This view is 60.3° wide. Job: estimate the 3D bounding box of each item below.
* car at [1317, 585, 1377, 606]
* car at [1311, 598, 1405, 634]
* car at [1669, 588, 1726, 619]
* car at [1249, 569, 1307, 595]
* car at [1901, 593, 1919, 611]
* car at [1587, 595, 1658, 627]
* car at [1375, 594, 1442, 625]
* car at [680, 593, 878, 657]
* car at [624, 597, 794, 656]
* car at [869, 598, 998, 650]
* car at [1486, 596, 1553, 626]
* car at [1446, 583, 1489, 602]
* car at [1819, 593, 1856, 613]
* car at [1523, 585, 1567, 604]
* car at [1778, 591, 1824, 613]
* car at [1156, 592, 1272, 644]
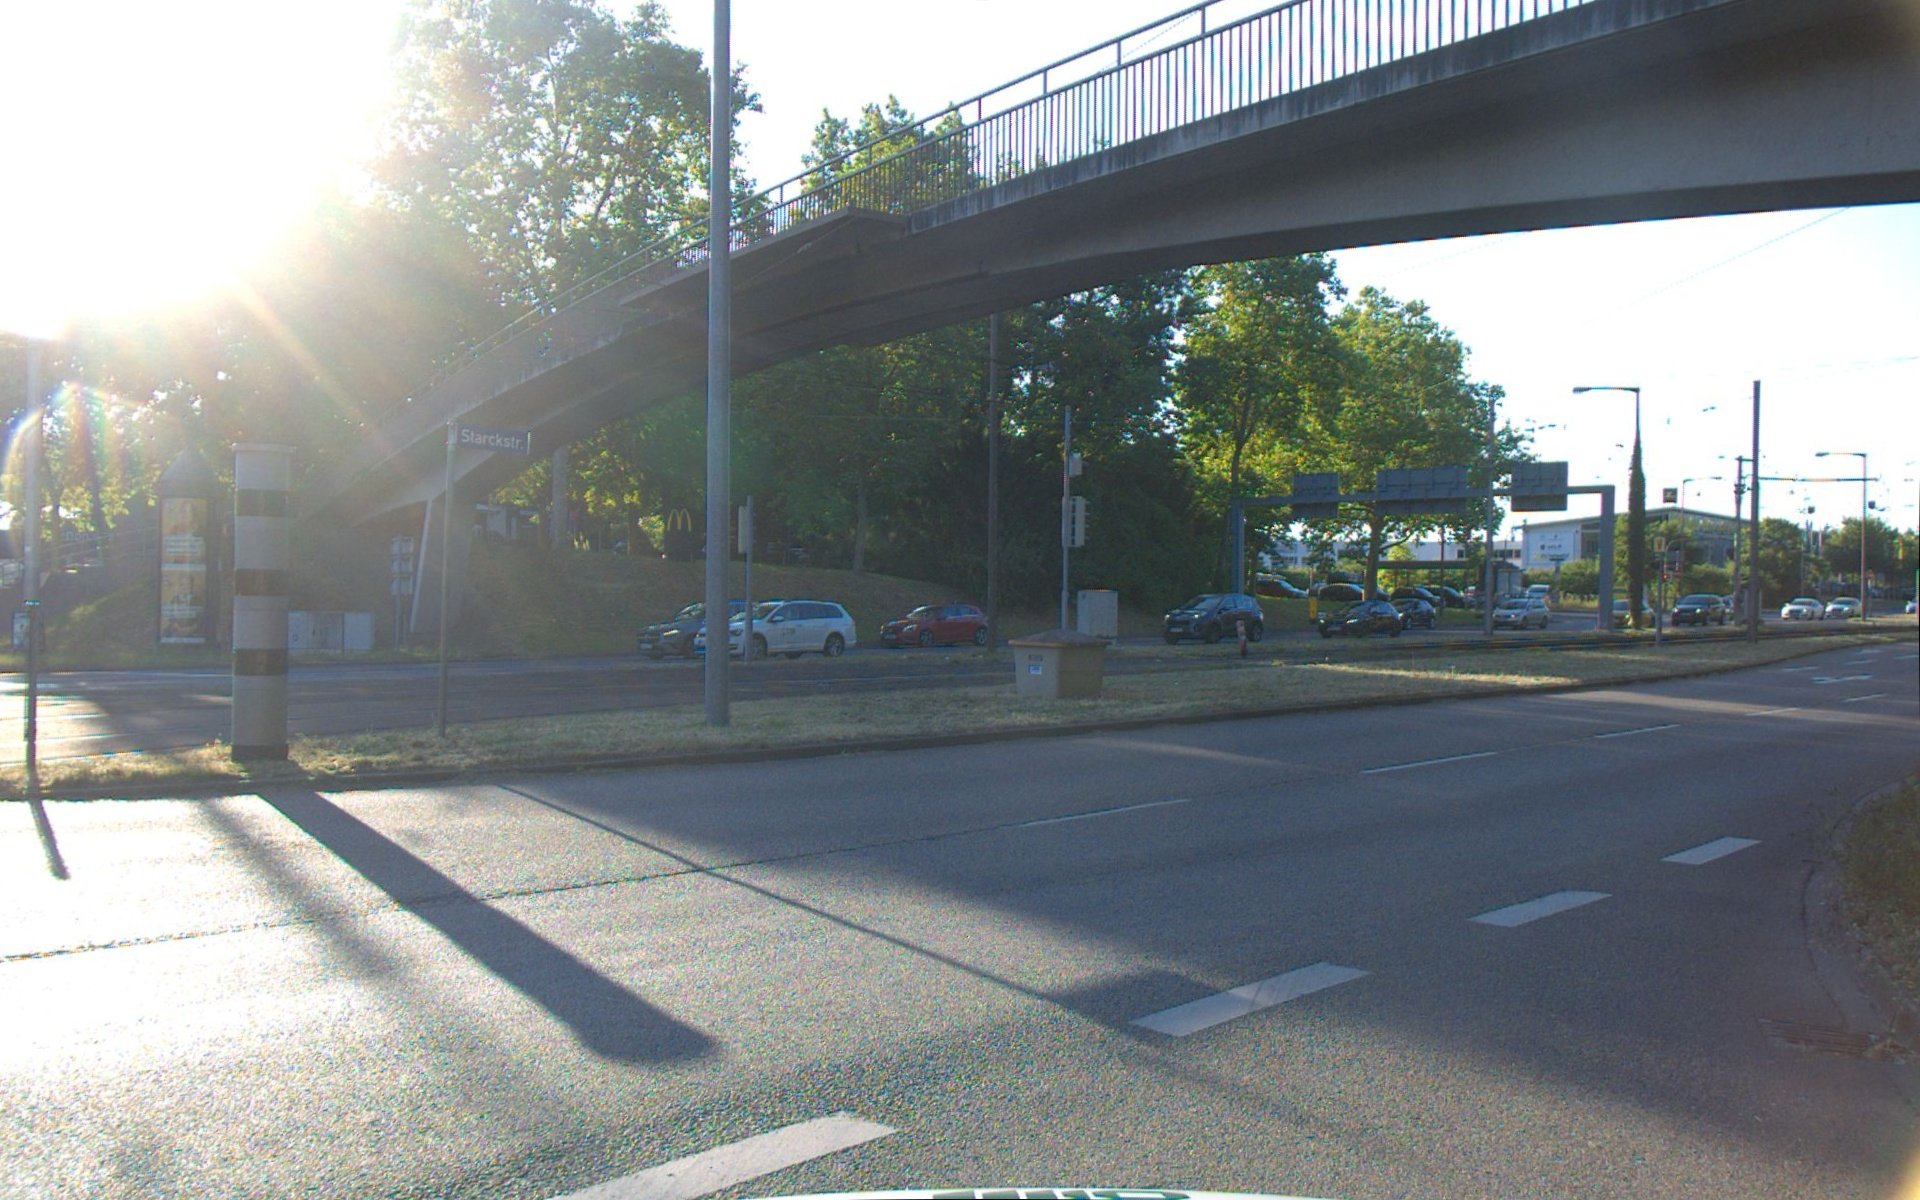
[{"bbox_3d":[28.723,-0.325,122.939,3.998,1.411,1.772,3,2,43],"label":"car"},{"bbox_3d":[15.552,0.632,64.530,1.663,1.333,4.281,1,0,43],"label":"car"},{"bbox_3d":[42.111,0.167,94.351,1.810,1.683,4.413,2,1,40],"label":"car"},{"bbox_3d":[24.397,-1.403,126.924,1.986,1.892,3.934,0,1,-45],"label":"car"},{"bbox_3d":[81.023,0.142,139.970,1.629,1.440,4.234,2,1,41],"label":"car"},{"bbox_3d":[31.163,0.497,77.759,1.812,1.440,3.993,1,0,43],"label":"car"},{"bbox_3d":[22.480,0.479,82.862,1.661,1.440,4.170,2,1,40],"label":"car"},{"bbox_3d":[-4.445,0.600,41.234,1.977,1.469,4.830,1,0,42],"label":"car"},{"bbox_3d":[-6.667,0.700,44.275,1.977,1.469,4.226,1,0,42],"label":"car"},{"bbox_3d":[-0.868,0.781,55.864,4.323,1.679,1.768,1,0,-44],"label":"car"},{"bbox_3d":[28.438,0.579,84.063,1.661,1.440,4.412,2,1,41],"label":"car"},{"bbox_3d":[42.153,-0.602,137.378,1.816,1.467,3.973,2,2,44],"label":"car"},{"bbox_3d":[65.597,0.239,123.566,1.628,1.440,4.237,2,1,40],"label":"car"},{"bbox_3d":[47.083,-0.465,133.134,1.816,1.467,3.973,2,2,44],"label":"car"},{"bbox_3d":[57.055,0.138,112.161,1.810,1.440,4.576,1,0,40],"label":"car"},{"bbox_3d":[8.599,0.605,55.823,1.765,1.679,4.330,1,0,42],"label":"car"}]
